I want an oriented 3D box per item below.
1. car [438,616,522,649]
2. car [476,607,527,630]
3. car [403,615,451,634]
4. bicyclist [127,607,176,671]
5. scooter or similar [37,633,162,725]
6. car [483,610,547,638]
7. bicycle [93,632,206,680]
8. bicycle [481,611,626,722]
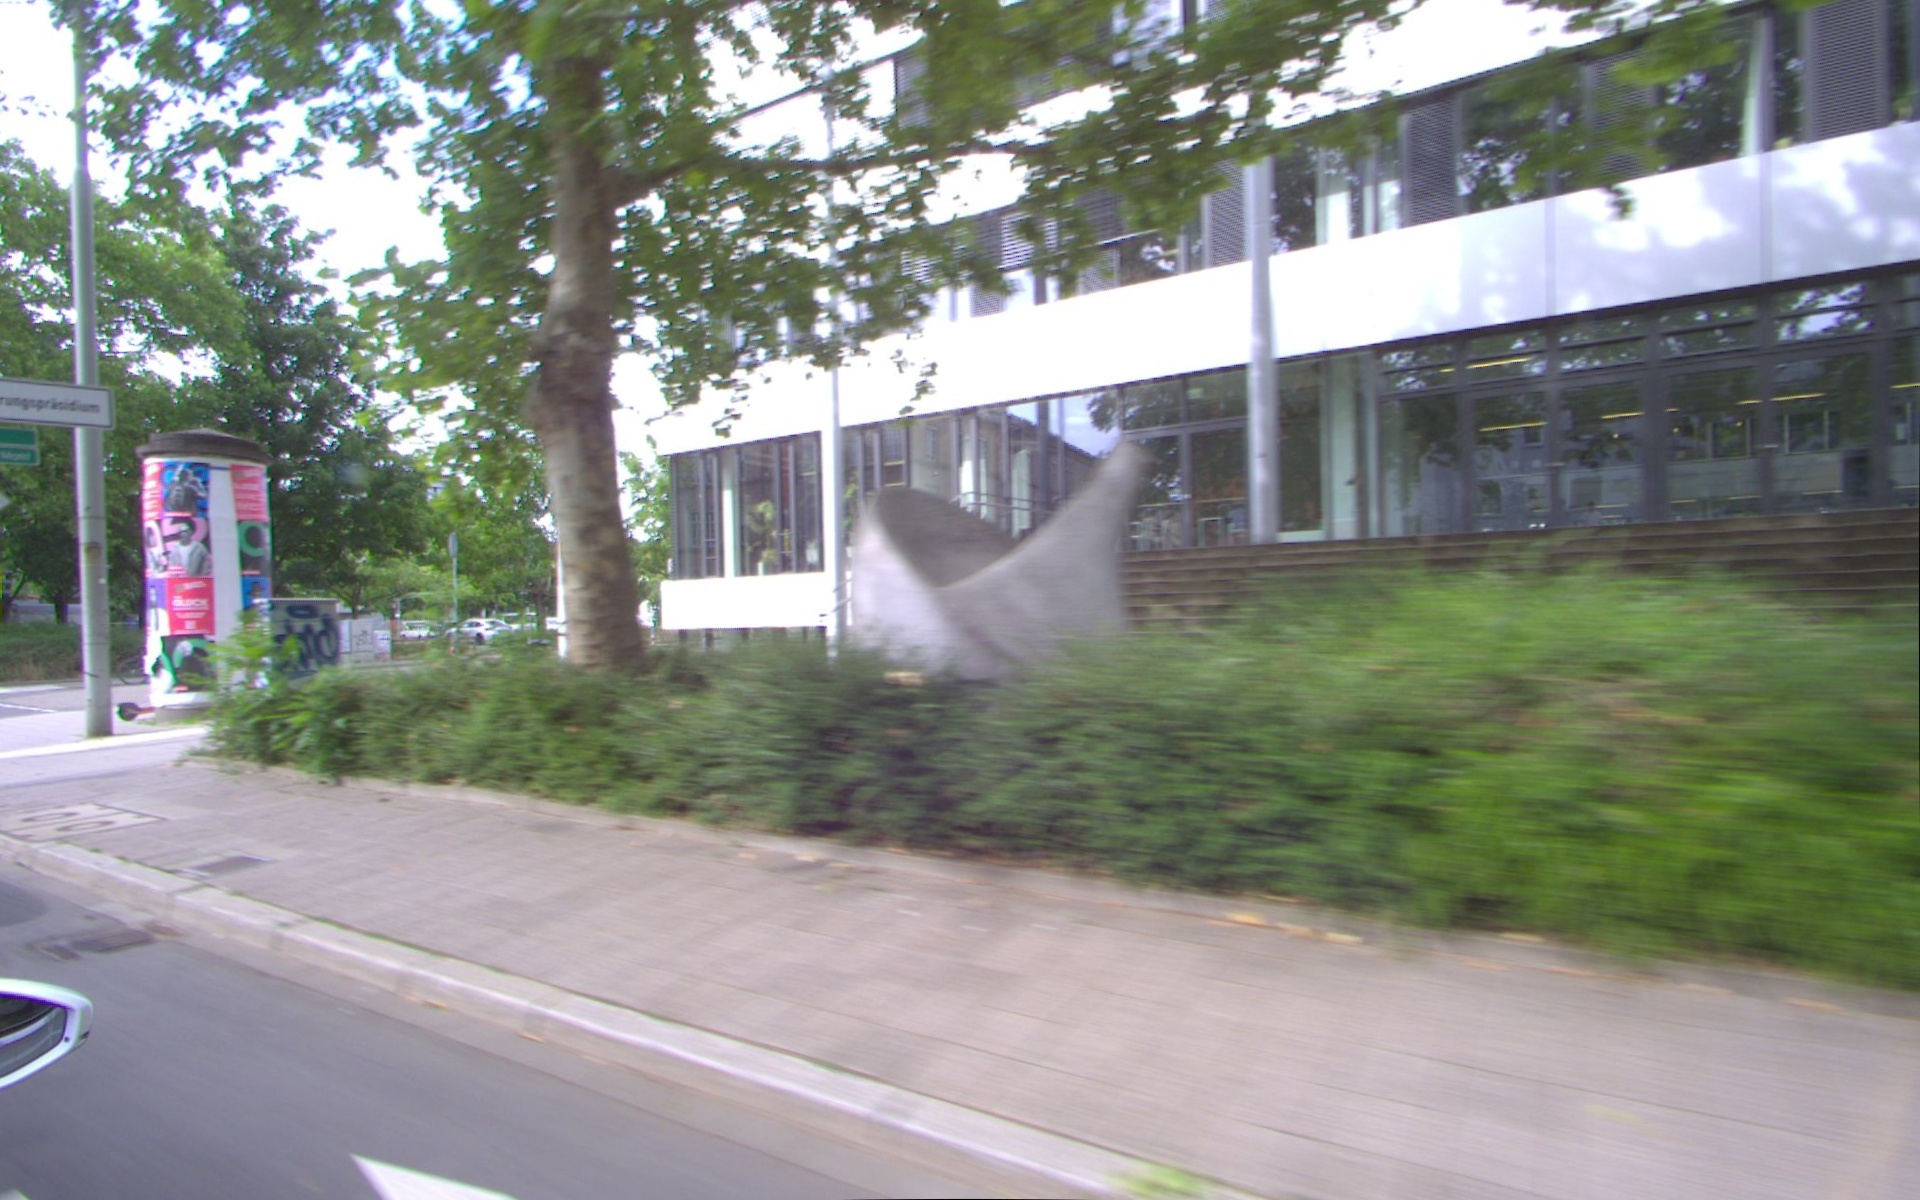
[{"bbox_3d":[-27.277,1.874,56.840,4.702,1.817,1.992,-1,-2,30],"label":"car"},{"bbox_3d":[-42.998,1.760,93.892,4.702,2.039,1.992,-1,-2,30],"label":"car"},{"bbox_3d":[-46.633,2.180,87.621,3.733,1.600,1.992,-1,-2,30],"label":"car"},{"bbox_3d":[-22.112,1.066,27.396,0.904,1.700,0.826,-3,-1,37],"label":"bicyclist"},{"bbox_3d":[-12.722,1.137,14.833,0.340,1.226,1.301,-1,2,37],"label":"scooter or similar"},{"bbox_3d":[-34.145,1.879,76.804,4.700,2.039,1.993,-1,-2,28],"label":"car"},{"bbox_3d":[-22.110,1.514,27.371,0.904,1.187,2.236,-3,-1,37],"label":"bicycle"},{"bbox_3d":[-4.652,0.740,11.434,1.701,1.184,0.697,-1,-2,33],"label":"bicycle"}]
